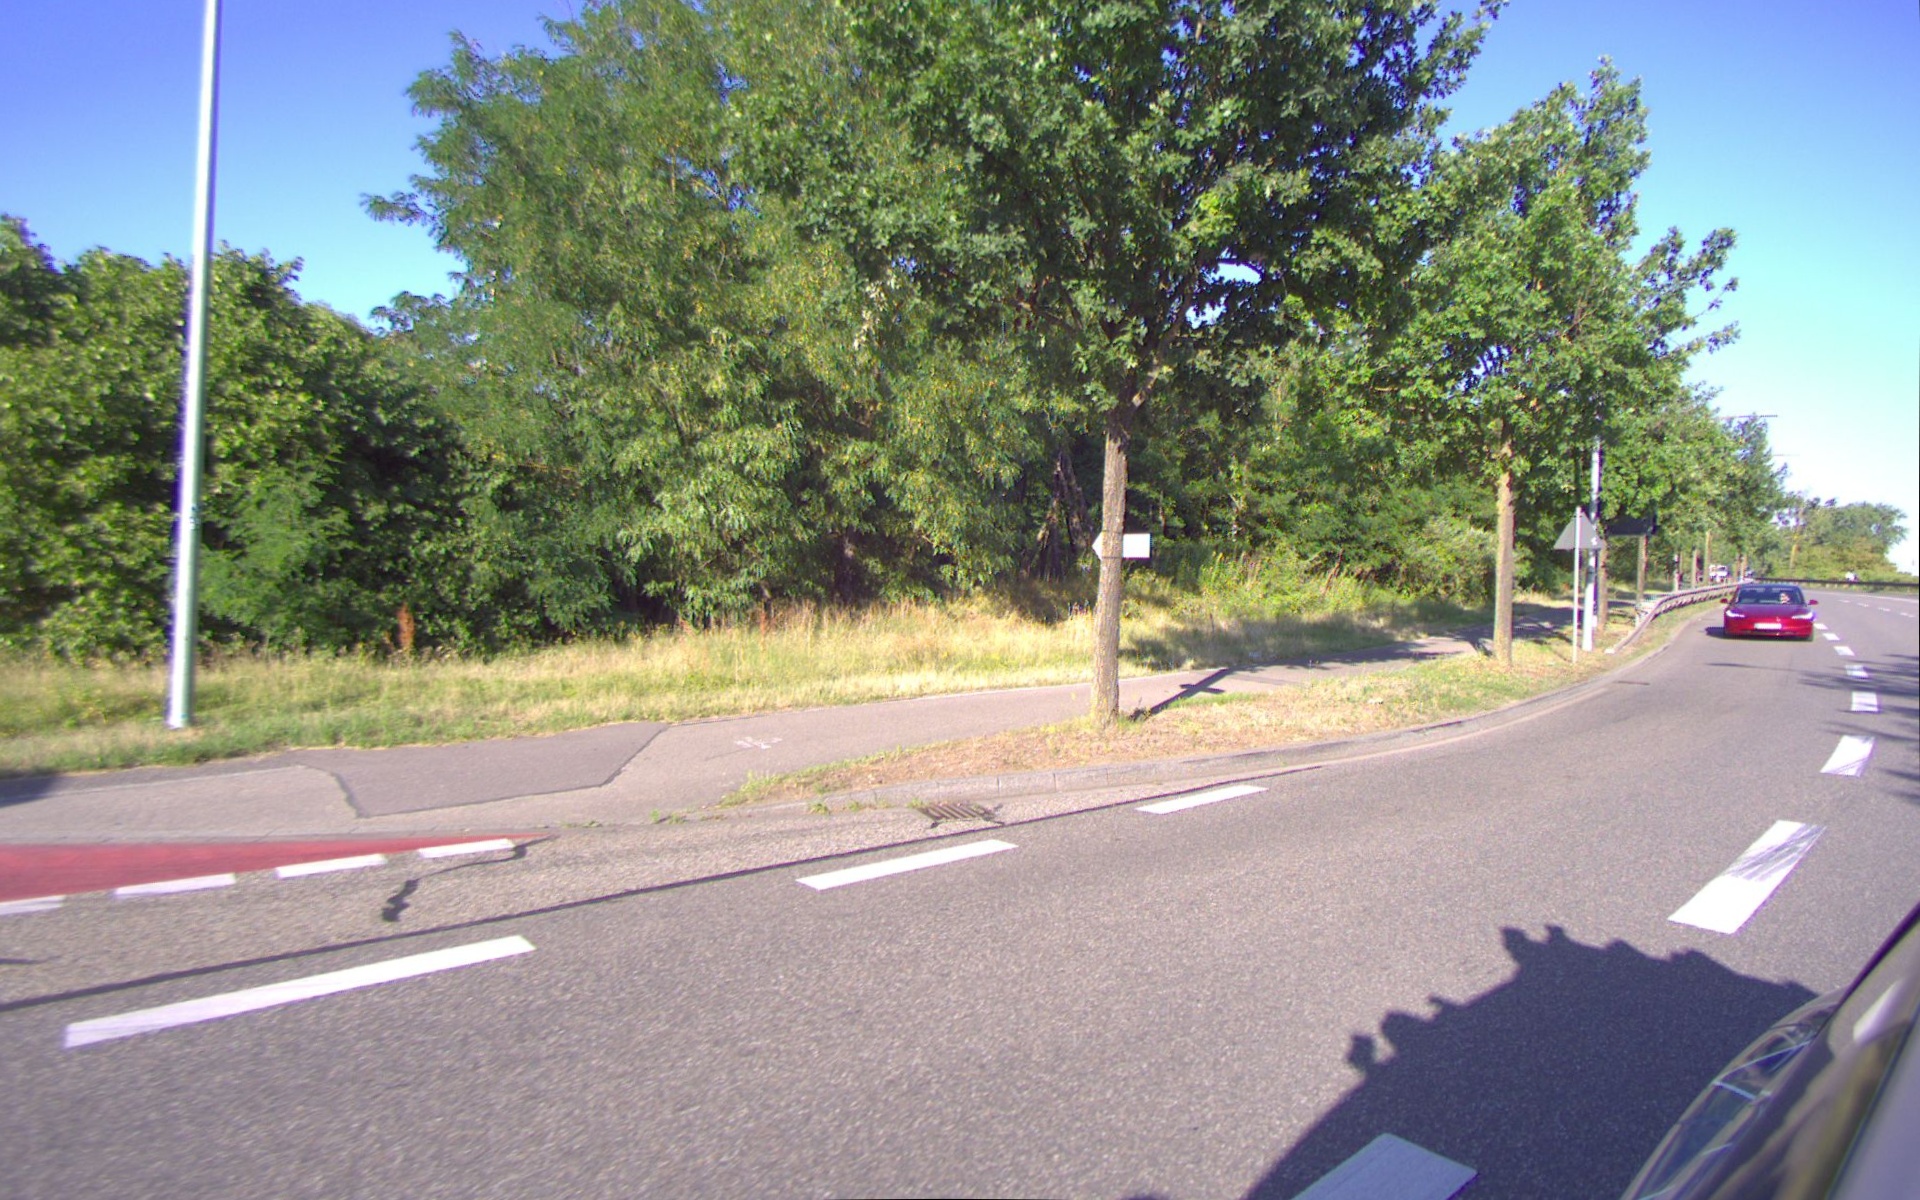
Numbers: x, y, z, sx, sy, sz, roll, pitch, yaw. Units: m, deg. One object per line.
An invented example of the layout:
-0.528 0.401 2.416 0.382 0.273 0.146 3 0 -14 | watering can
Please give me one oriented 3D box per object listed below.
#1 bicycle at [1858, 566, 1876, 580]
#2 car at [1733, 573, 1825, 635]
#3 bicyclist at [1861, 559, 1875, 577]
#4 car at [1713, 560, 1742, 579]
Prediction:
78.196 -2.330 87.261 0.579 1.089 2.291 4 4 28 | bicycle
21.889 0.041 27.040 1.775 1.460 4.298 1 3 40 | car
78.154 -2.729 87.085 0.596 1.476 0.820 4 4 28 | bicyclist
86.123 -3.473 113.586 1.867 2.038 5.209 0 3 29 | car
